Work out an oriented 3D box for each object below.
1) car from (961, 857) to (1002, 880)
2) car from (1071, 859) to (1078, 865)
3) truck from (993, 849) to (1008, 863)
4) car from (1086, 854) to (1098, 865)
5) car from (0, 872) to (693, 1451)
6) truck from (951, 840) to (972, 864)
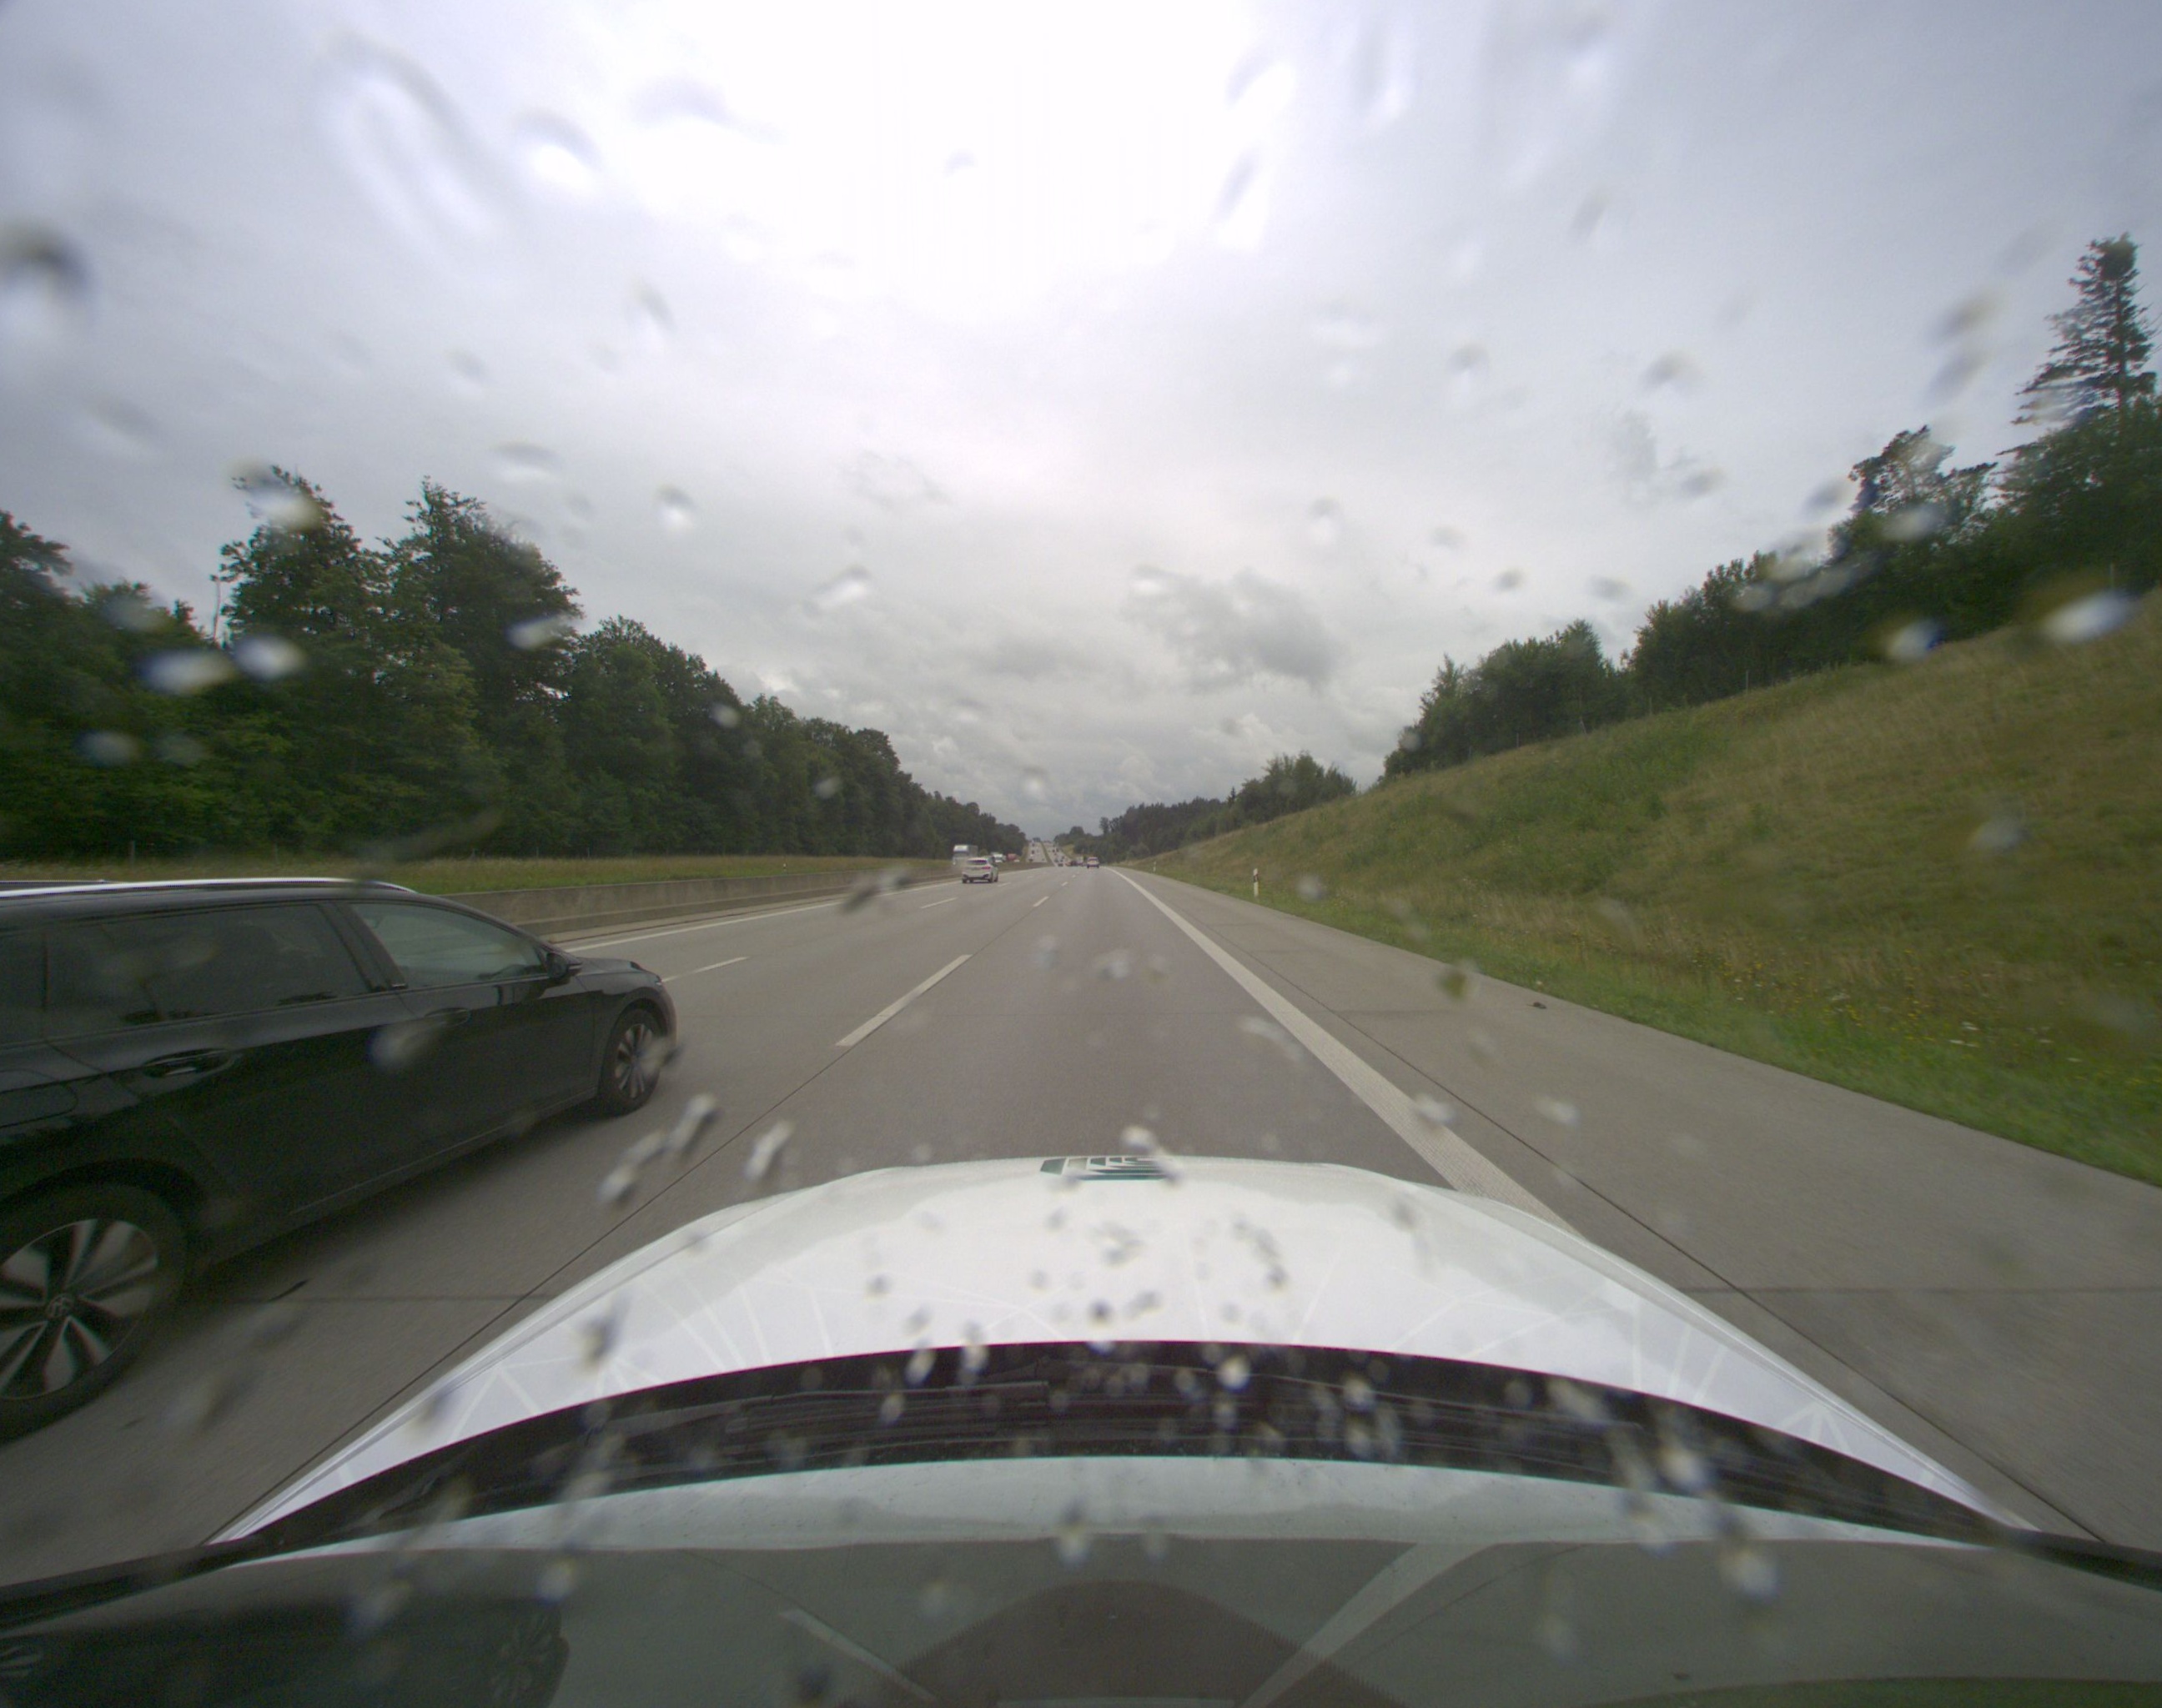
[{"bbox_3d":[-6.133,0.878,50.617,1.941,1.356,4.259,0,0,0],"label":"car"},{"bbox_3d":[-1.816,2.171,223.747,1.930,1.375,4.590,0,0,-3],"label":"car"},{"bbox_3d":[-16.467,0.405,167.064,2.259,2.788,6.515,0,0,2],"label":"truck"},{"bbox_3d":[1.723,0.831,125.082,1.820,1.655,3.985,0,0,0],"label":"car"},{"bbox_3d":[-3.604,0.831,3.363,1.746,1.398,4.485,0,0,1],"label":"car"},{"bbox_3d":[-21.175,-0.378,144.535,2.500,4.125,6.461,0,0,1],"label":"truck"}]
